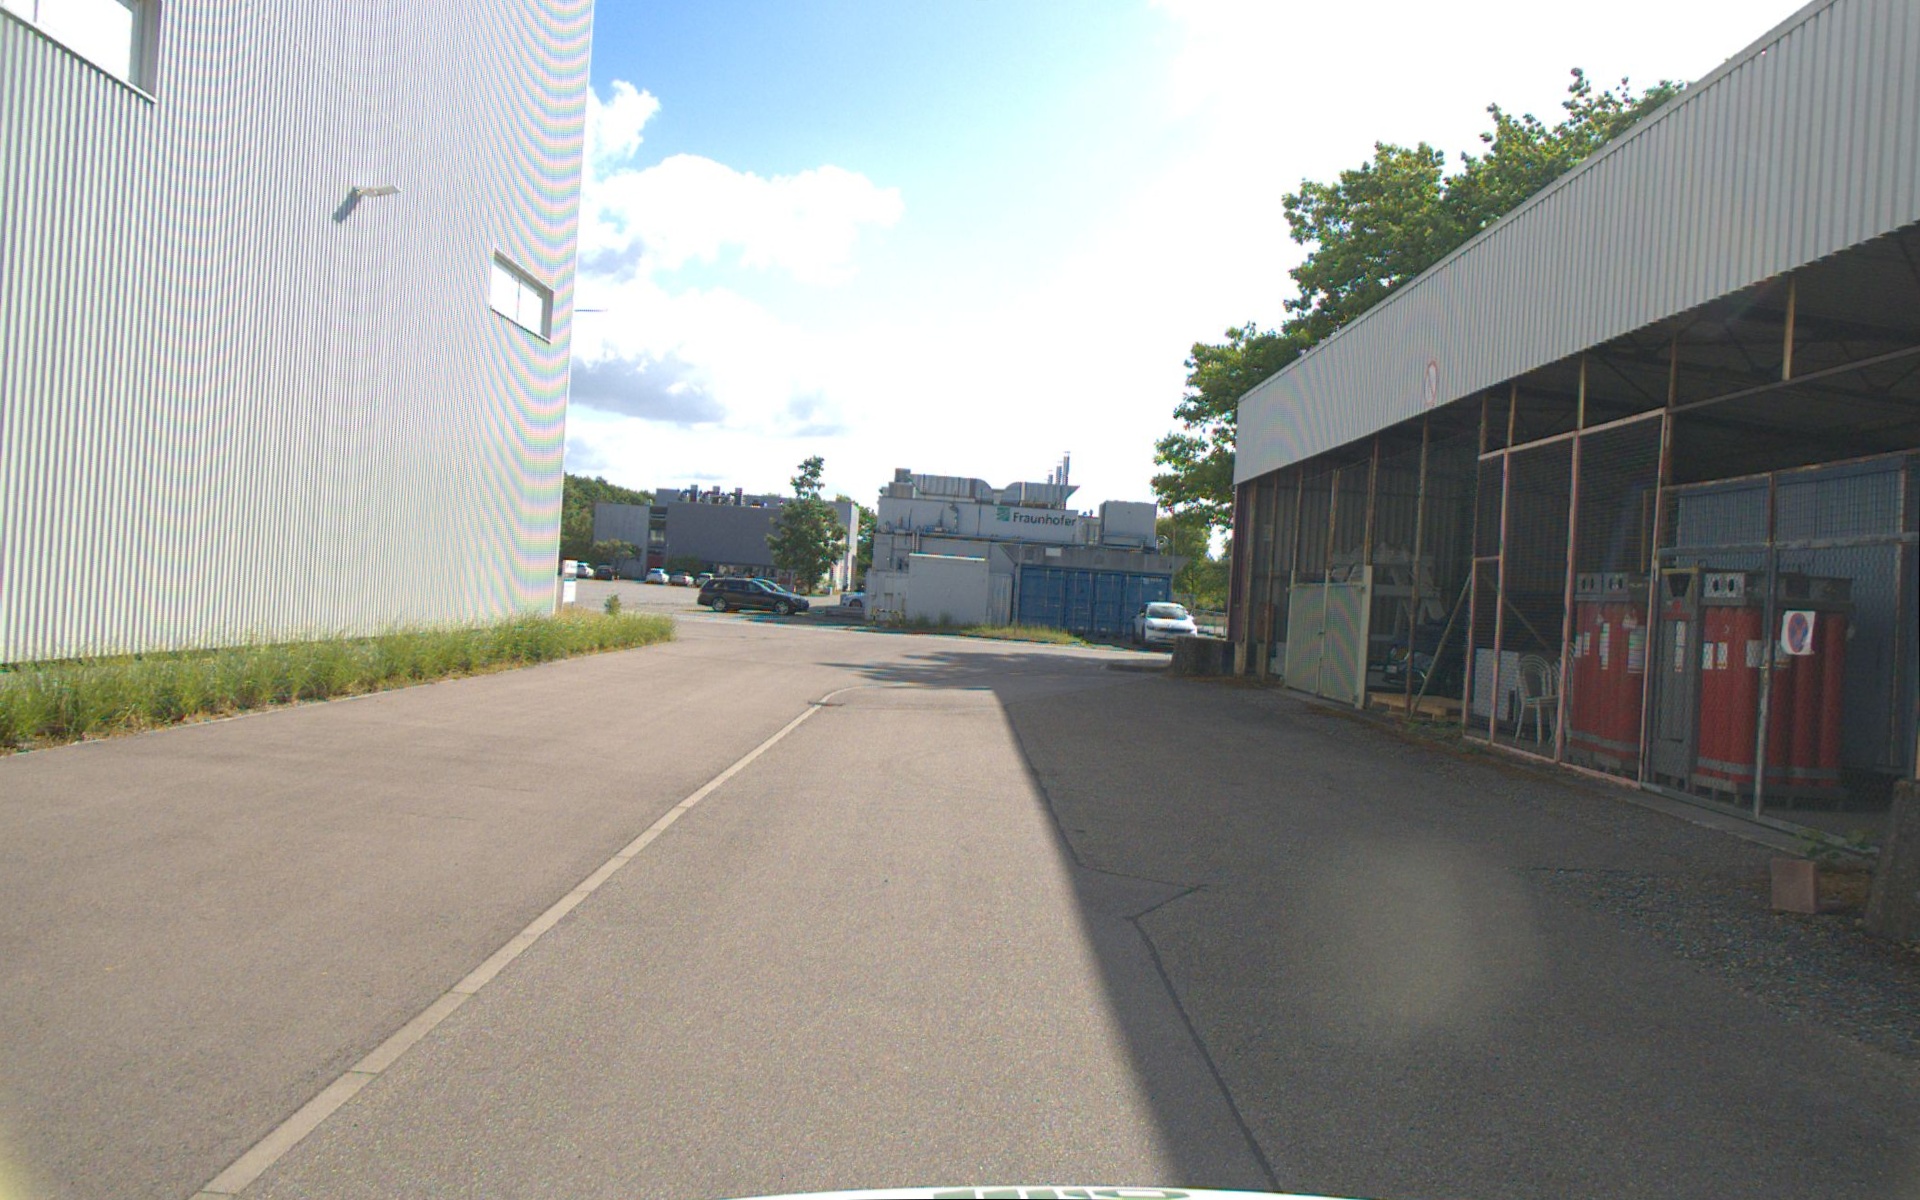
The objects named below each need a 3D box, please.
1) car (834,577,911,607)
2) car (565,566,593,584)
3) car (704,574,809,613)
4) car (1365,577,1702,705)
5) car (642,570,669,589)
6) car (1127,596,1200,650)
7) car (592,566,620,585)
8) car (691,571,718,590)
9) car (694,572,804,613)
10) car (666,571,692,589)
[{"bbox_3d":[-5.212,-0.484,99.287,4.433,1.534,1.909,3,0,0],"label":"car"},{"bbox_3d":[-38.662,-2.545,167.960,1.953,1.766,3.999,2,0,-1],"label":"car"},{"bbox_3d":[-9.170,-0.308,74.877,4.433,1.534,1.909,3,0,1],"label":"car"},{"bbox_3d":[9.923,0.693,28.837,5.136,1.909,1.998,3,0,-6],"label":"car"},{"bbox_3d":[-30.993,-2.092,168.501,1.953,1.766,3.999,2,0,-1],"label":"car"},{"bbox_3d":[7.239,0.781,59.091,1.953,1.613,4.172,3,2,-1],"label":"car"},{"bbox_3d":[-35.913,-2.462,167.940,1.953,1.766,3.999,2,0,-1],"label":"car"},{"bbox_3d":[-26.015,-1.973,168.556,2.149,1.766,3.999,2,0,-1],"label":"car"},{"bbox_3d":[-9.117,-0.310,71.640,4.433,1.534,1.909,3,0,1],"label":"car"},{"bbox_3d":[-28.546,-2.018,168.180,1.953,1.766,3.999,2,0,-1],"label":"car"}]
